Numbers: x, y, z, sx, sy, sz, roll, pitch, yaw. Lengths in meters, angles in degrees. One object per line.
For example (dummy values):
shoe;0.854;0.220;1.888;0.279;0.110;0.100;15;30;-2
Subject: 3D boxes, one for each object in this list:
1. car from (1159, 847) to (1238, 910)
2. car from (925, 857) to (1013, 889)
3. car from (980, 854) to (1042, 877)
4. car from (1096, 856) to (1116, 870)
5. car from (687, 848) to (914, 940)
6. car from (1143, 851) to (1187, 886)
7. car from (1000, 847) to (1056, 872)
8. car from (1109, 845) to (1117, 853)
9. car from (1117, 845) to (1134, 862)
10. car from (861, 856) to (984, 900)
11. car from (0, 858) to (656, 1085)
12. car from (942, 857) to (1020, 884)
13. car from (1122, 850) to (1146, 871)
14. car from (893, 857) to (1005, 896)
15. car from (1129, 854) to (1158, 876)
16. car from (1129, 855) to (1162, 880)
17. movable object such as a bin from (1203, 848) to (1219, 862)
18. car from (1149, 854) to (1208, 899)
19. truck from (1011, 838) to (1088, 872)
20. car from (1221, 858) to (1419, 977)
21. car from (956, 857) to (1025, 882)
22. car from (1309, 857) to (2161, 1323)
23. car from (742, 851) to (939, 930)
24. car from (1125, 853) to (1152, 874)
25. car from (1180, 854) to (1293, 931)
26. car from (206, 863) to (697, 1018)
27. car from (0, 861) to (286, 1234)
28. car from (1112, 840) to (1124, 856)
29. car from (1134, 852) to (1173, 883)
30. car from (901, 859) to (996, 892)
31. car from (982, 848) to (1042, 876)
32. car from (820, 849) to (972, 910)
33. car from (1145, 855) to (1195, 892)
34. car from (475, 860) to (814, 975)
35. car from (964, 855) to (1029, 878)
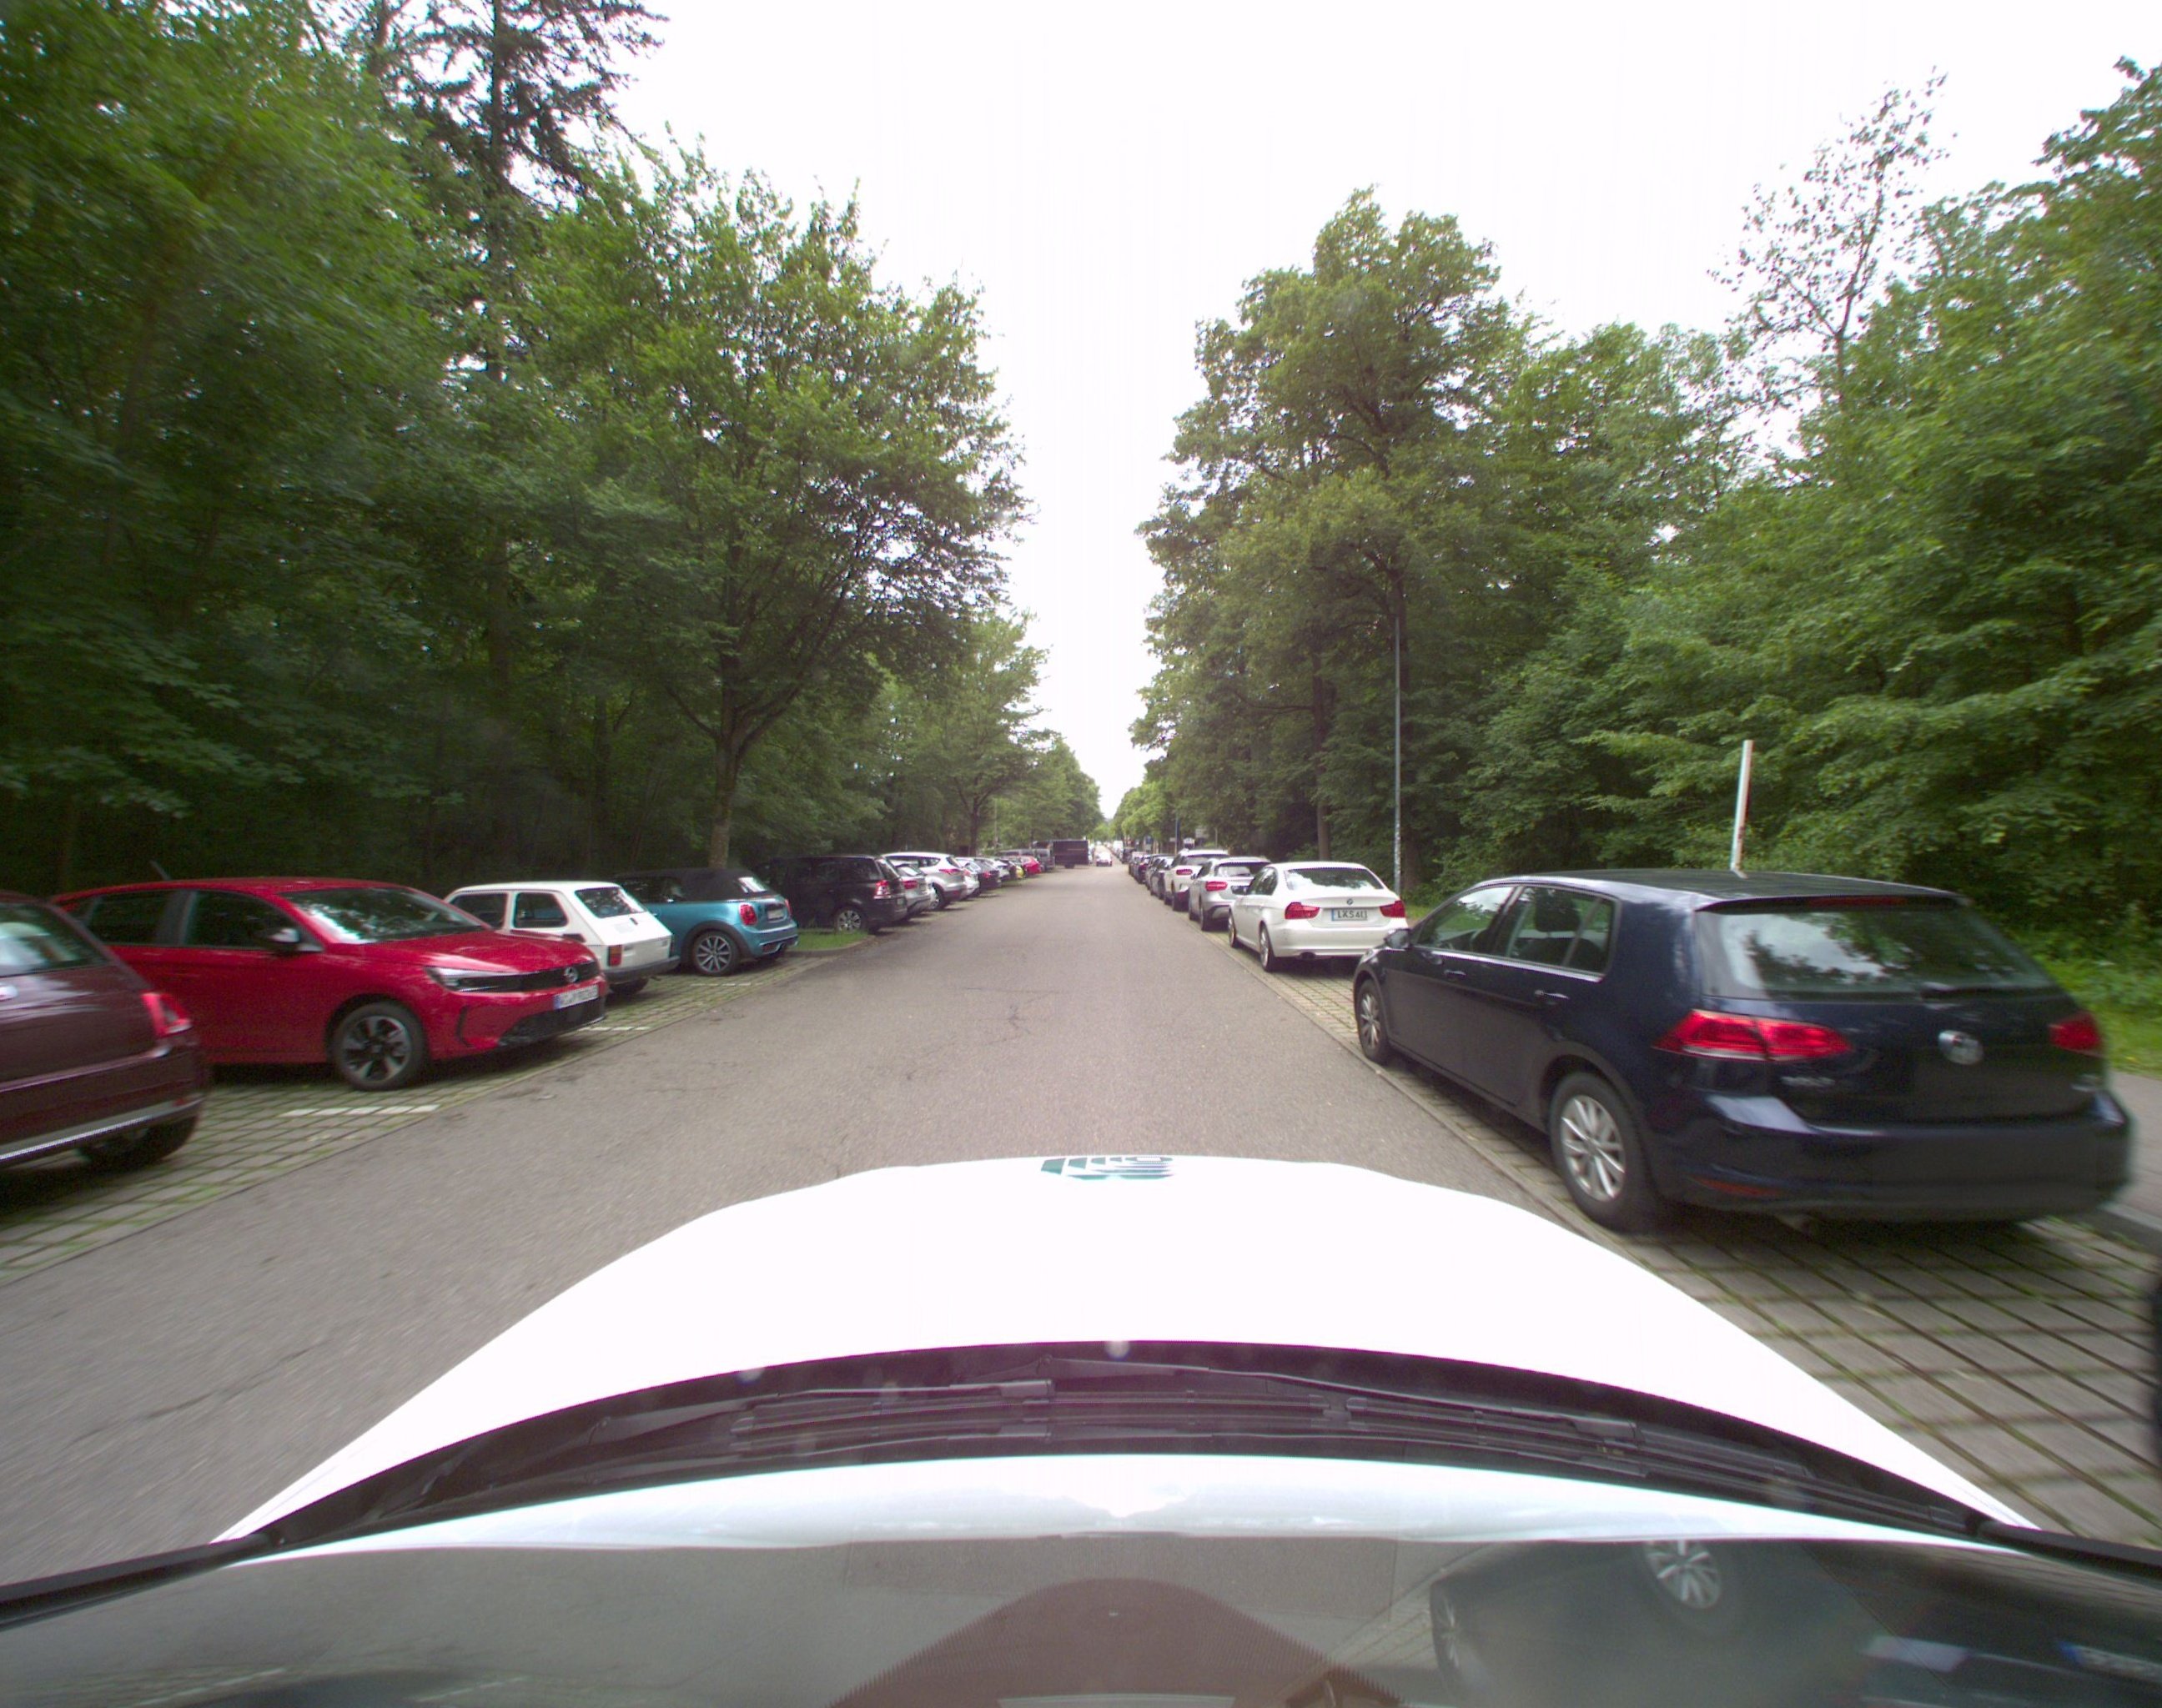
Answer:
car;3.321;0.657;23.862;1.730;1.643;5.074;0;0;2
car;-5.374;0.907;39.381;3.973;1.467;1.715;0;0;0
car;-4.630;0.770;54.056;3.975;1.476;1.779;0;0;-1
car;2.722;0.938;87.416;1.863;1.486;4.006;0;-1;5
car;-5.568;0.774;16.527;3.974;1.662;1.696;-2;0;-1
car;3.922;0.657;38.568;1.730;1.568;4.008;0;0;1
car;-4.297;0.472;66.570;4.488;1.978;1.890;0;-1;0
car;8.421;-1.337;216.086;1.984;2.014;4.005;0;-1;5
car;5.355;-0.069;97.830;1.980;2.013;4.111;0;0;3
car;-5.575;0.851;28.992;3.970;1.435;1.650;-1;0;3
car;-5.896;0.827;6.565;3.972;1.516;1.771;-1;0;1
car;-5.418;0.873;44.315;3.972;1.438;1.715;0;0;1
car;4.323;0.496;66.551;1.730;1.633;4.376;0;0;1
car;-5.023;0.855;31.349;3.970;1.435;1.679;0;0;3
car;4.196;0.694;55.357;1.730;1.432;4.502;0;0;1
car;3.795;0.781;48.496;1.730;1.432;4.502;0;0;1
movable object such as a bin;14.088;0.107;88.281;1.293;1.442;1.066;1;-1;-42
car;3.422;0.747;29.273;1.730;1.474;4.607;0;0;2
truck;-3.126;0.084;79.630;7.246;3.236;3.430;0;-1;-10
car;3.239;0.771;11.953;1.730;1.407;4.429;0;0;2
car;-5.440;0.916;49.367;3.972;1.438;1.618;0;0;1
car;2.922;0.741;4.923;1.731;1.435;4.744;0;0;0
car;-5.513;0.810;18.995;3.972;1.662;1.815;-2;0;2
car;4.258;0.662;60.796;1.730;1.495;4.234;0;0;1
car;3.288;0.748;18.049;1.730;1.479;4.771;0;0;2
car;-6.630;0.863;8.907;3.972;1.448;1.771;-1;0;1
car;-6.406;0.831;3.610;3.972;1.516;1.818;-1;0;1
car;6.881;-1.069;151.700;2.175;3.015;4.900;0;0;3
car;3.791;0.682;43.212;1.730;1.589;4.382;0;0;1
car;-5.975;0.954;37.032;3.970;1.435;1.704;0;0;3
car;-4.774;0.541;56.788;3.973;1.862;1.814;-1;0;1
car;-5.322;0.719;23.837;3.974;1.662;1.814;-1;0;-1
car;3.665;0.776;34.038;1.730;1.425;4.156;0;0;2
car;-6.177;0.871;11.801;3.969;1.448;1.698;-2;0;4
car;-5.330;0.801;51.754;3.975;1.438;1.671;0;0;-2
